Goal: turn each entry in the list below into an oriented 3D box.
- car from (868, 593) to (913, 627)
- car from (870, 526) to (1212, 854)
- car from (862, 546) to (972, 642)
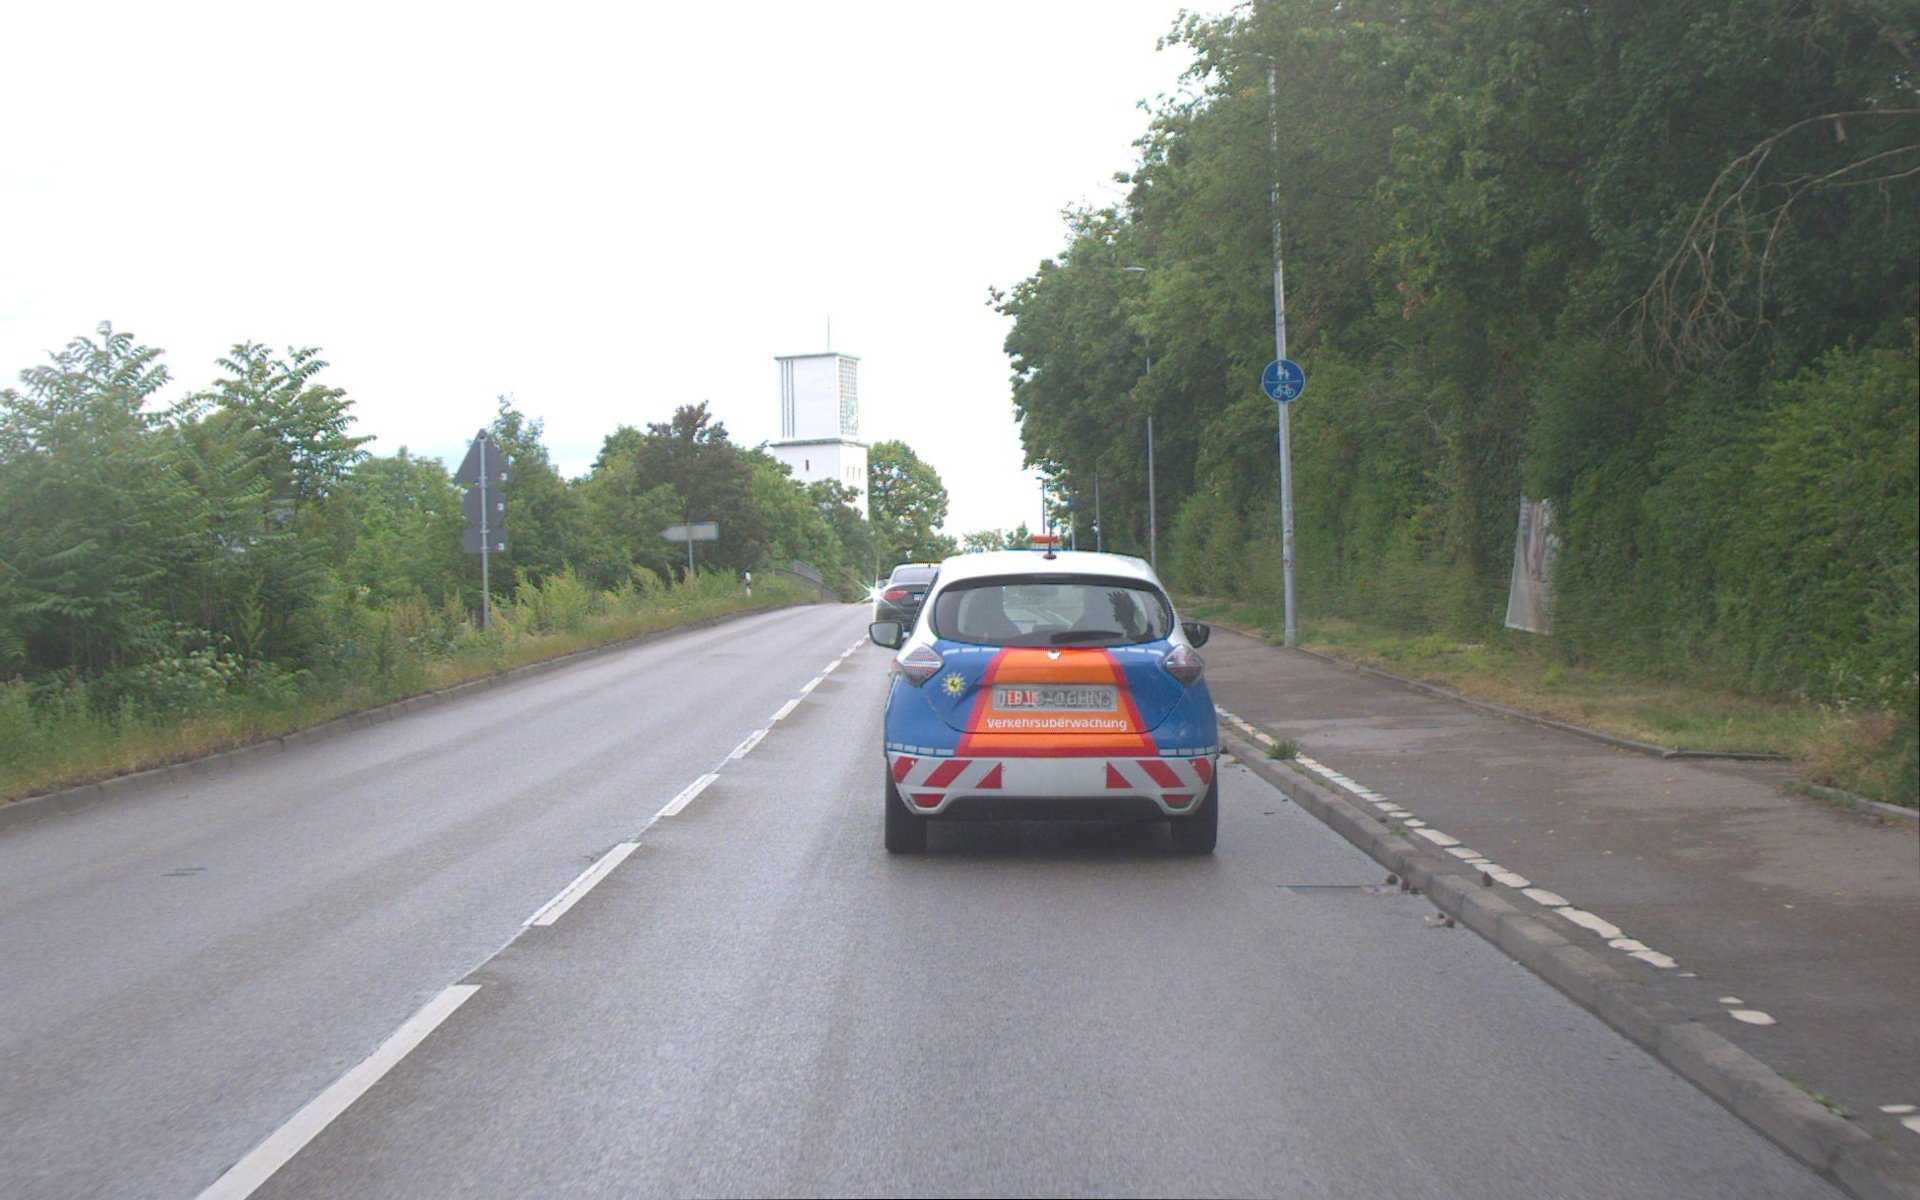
[{"bbox_3d":[-3.488,0.493,173.980,1.869,1.580,4.414,1,1,4],"label":"car"},{"bbox_3d":[0.395,0.461,18.636,1.657,1.587,3.568,-1,-1,0],"label":"car"},{"bbox_3d":[-0.799,-0.102,61.113,1.802,1.584,3.563,-2,0,-2],"label":"car"}]
